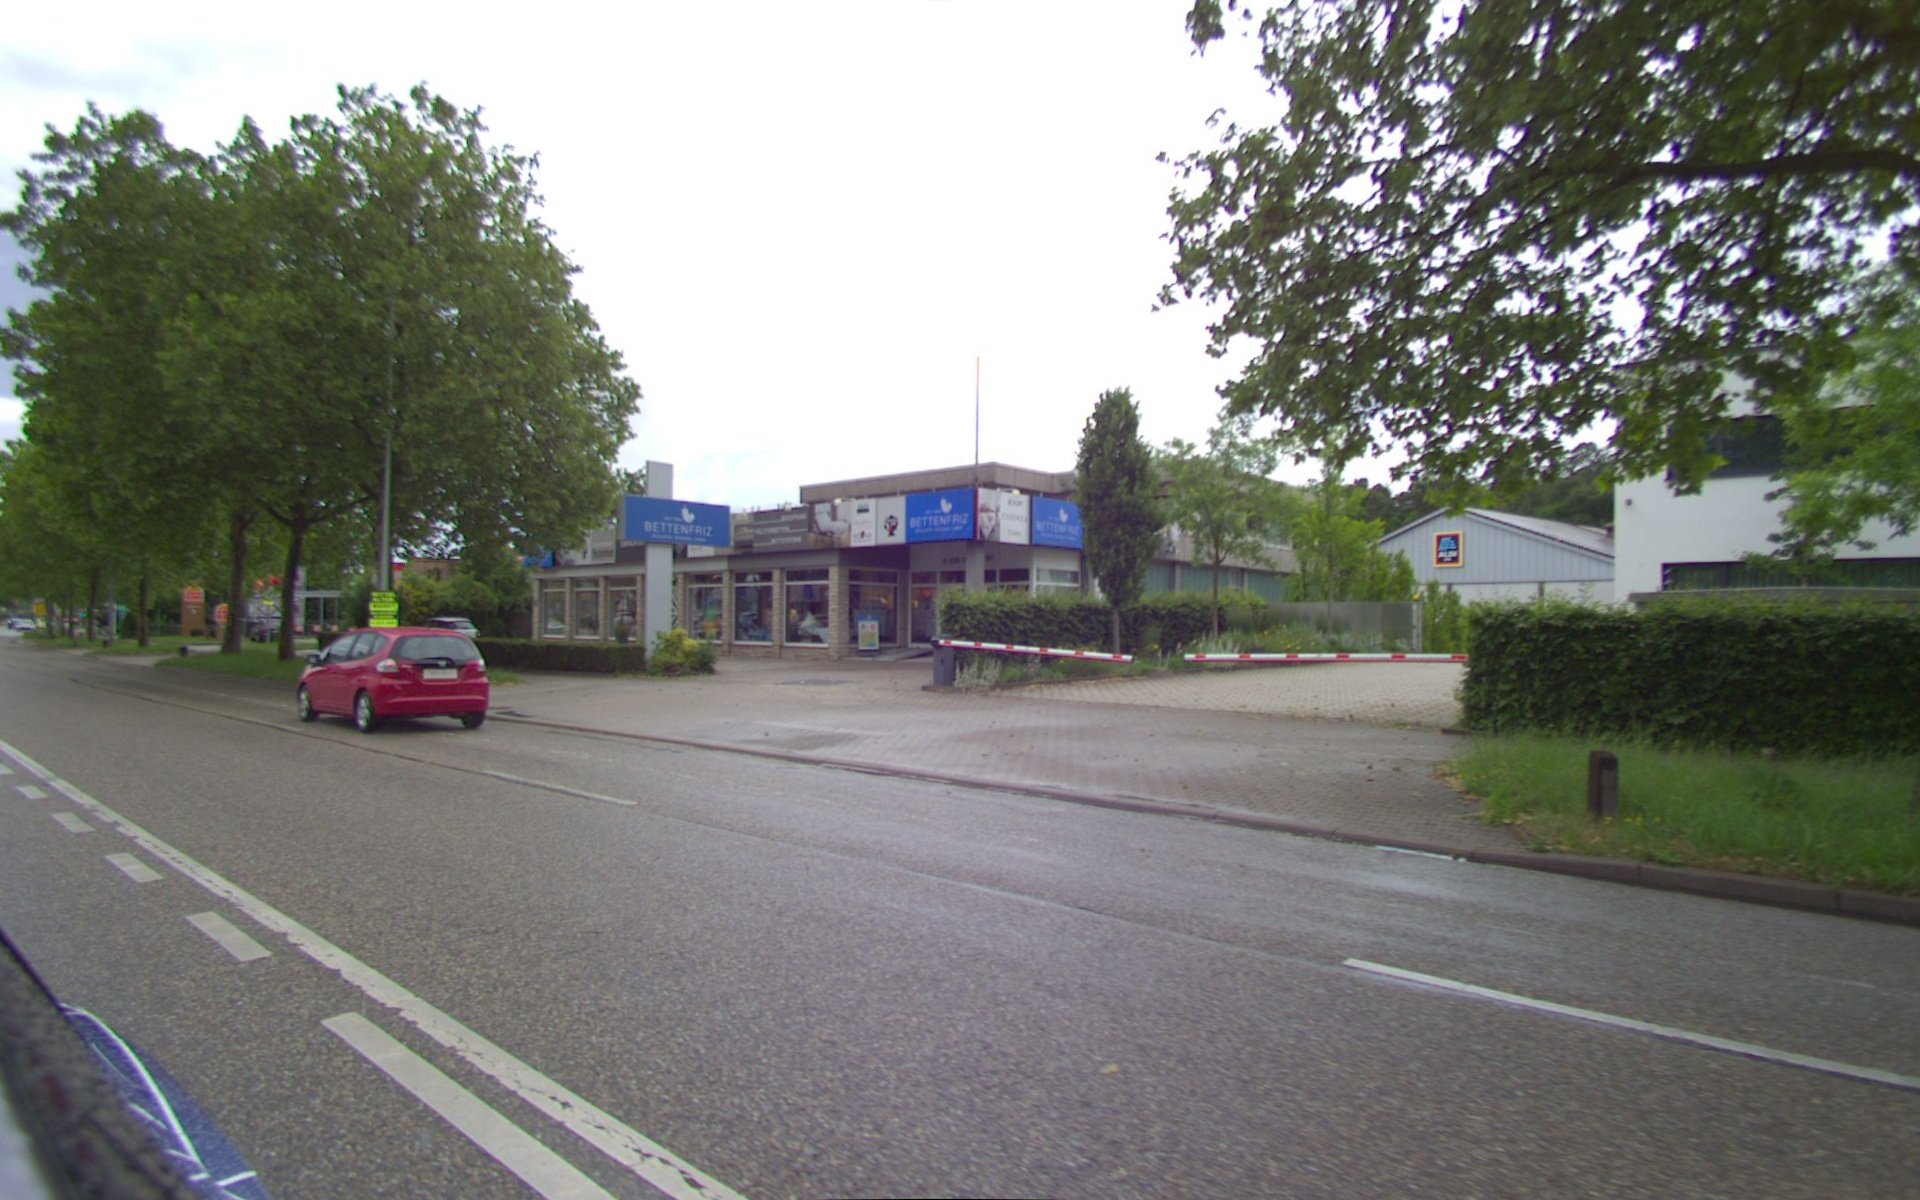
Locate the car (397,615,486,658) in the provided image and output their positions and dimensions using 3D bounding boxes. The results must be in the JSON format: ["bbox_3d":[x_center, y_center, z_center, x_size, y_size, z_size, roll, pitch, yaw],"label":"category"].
[{"bbox_3d":[-20.276,1.417,39.538,3.999,1.545,1.723,-1,-4,42],"label":"car"}]

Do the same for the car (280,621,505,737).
[{"bbox_3d":[-8.894,1.149,15.738,3.997,1.545,1.724,-1,-4,41],"label":"car"}]
